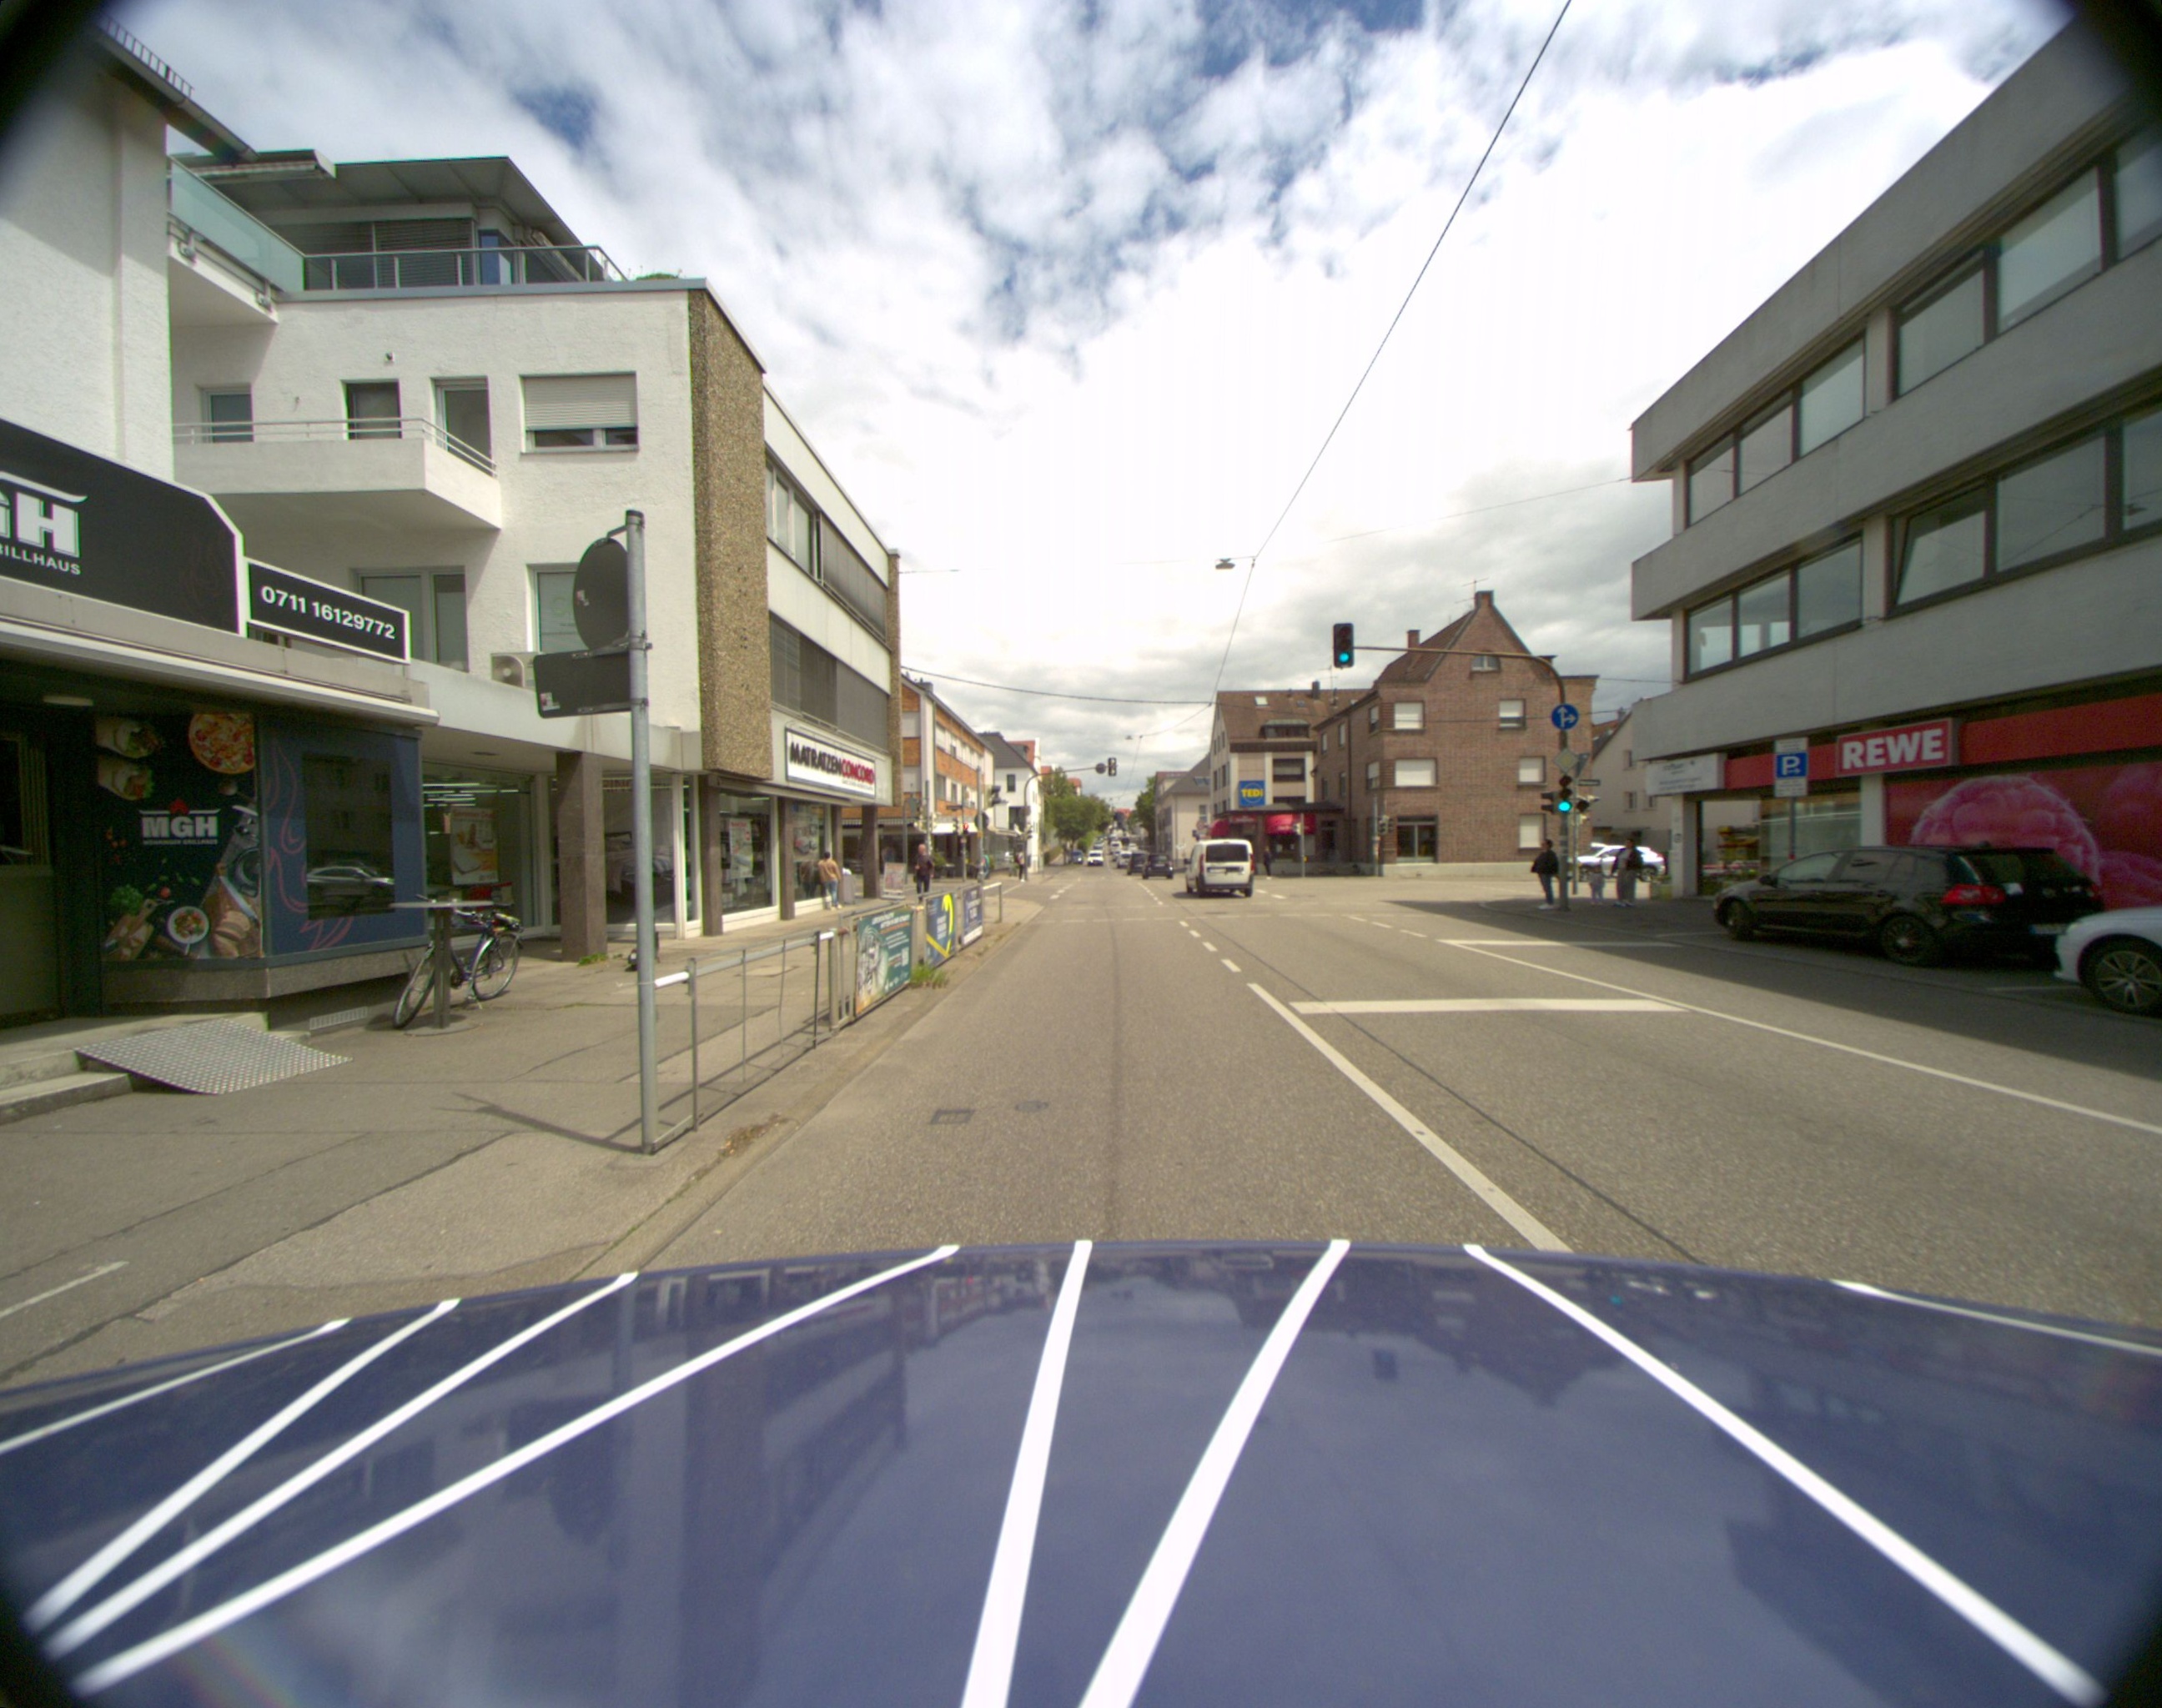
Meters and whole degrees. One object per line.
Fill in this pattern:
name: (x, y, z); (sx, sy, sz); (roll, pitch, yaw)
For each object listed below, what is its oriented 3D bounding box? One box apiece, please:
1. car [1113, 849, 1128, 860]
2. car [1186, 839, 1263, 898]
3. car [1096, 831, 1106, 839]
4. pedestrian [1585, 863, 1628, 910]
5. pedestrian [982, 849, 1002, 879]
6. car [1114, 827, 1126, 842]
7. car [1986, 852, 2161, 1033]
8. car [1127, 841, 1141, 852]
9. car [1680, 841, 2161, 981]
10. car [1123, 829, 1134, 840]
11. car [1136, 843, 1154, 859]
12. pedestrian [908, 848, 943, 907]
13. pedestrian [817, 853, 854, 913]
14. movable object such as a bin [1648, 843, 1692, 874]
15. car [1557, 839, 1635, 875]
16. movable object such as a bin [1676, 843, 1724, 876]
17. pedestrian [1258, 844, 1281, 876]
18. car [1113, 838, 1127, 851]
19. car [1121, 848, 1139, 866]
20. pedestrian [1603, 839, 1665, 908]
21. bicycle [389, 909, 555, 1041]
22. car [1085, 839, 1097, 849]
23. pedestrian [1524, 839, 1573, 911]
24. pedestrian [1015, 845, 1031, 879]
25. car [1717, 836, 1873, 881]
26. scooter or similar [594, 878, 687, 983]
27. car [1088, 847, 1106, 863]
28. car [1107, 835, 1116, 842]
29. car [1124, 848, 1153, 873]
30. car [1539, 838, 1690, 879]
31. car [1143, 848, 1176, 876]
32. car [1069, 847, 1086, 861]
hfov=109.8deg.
car: (5.239, 0.035, 101.033); (1.757, 1.478, 3.970); (0, 0, 0)
car: (4.748, 0.440, 25.725); (1.950, 1.810, 4.278); (0, 0, 2)
car: (4.479, -4.212, 169.613); (1.998, 1.654, 4.000); (0, 0, 2)
pedestrian: (12.394, 0.753, 17.939); (0.560, 1.051, 0.662); (-2, 1, 8)
pedestrian: (-4.679, 0.516, 39.946); (0.778, 1.517, 0.820); (0, 1, 11)
car: (9.652, -4.851, 188.913); (2.428, 3.409, 7.637); (0, 0, 0)
car: (9.814, 0.733, 5.015); (2.048, 1.436, 4.954); (-2, 0, 5)
car: (8.521, -1.253, 122.884); (2.110, 1.778, 4.529); (-1, 1, 2)
car: (10.844, 0.617, 10.418); (2.049, 1.467, 4.286); (-2, 0, 4)
car: (9.674, -3.871, 154.627); (2.110, 2.109, 4.765); (-1, 0, 2)
car: (8.705, -0.446, 103.841); (2.110, 2.109, 4.765); (-1, 1, 2)
pedestrian: (-4.397, 0.654, 21.513); (0.797, 1.661, 0.807); (0, 1, 1)
pedestrian: (-6.253, 0.729, 19.398); (0.681, 1.490, 0.720); (0, 1, 2)
movable object such as a bin: (32.163, 0.235, 41.529); (1.519, 1.615, 1.145); (-2, 1, 5)
car: (28.090, 0.160, 41.570); (1.869, 1.852, 3.702); (0, 0, 2)
movable object such as a bin: (32.169, 0.264, 39.493); (1.519, 1.615, 1.145); (-2, 1, 5)
pedestrian: (10.220, 0.329, 41.197); (0.908, 1.713, 0.849); (-1, 1, -40)
car: (6.139, -1.474, 120.061); (1.982, 1.985, 5.028); (0, 0, 0)
car: (5.180, 0.313, 81.284); (1.819, 1.919, 4.112); (0, 0, 2)
pedestrian: (12.891, 0.446, 17.734); (0.820, 1.546, 0.846); (-2, 1, 8)
bicycle: (-5.899, 1.123, 7.480); (0.476, 1.022, 1.635); (0, 1, -7)
car: (1.832, -1.765, 135.728); (1.998, 1.654, 4.000); (0, 0, 2)
pedestrian: (10.957, 0.493, 17.830); (0.719, 1.635, 0.682); (-2, 1, 7)
pedestrian: (-3.109, 0.436, 40.856); (0.581, 1.820, 0.882); (1, 1, 18)
car: (28.759, 0.180, 30.711); (4.347, 1.744, 2.000); (0, 1, 2)
scooter or similar: (-5.873, 0.978, 10.195); (0.690, 1.260, 1.184); (0, 1, -10)
car: (1.872, 0.150, 89.153); (1.999, 1.797, 4.765); (-1, 0, 0)
car: (6.344, -3.235, 158.557); (1.858, 1.414, 4.192); (0, 0, 0)
car: (4.574, 0.519, 61.030); (1.953, 1.866, 4.876); (-1, 1, 1)
car: (23.896, 0.226, 34.203); (5.254, 1.758, 2.001); (0, 0, 5)
car: (4.604, 0.452, 44.997); (1.681, 1.626, 2.833); (0, 0, 0)
car: (-0.421, -0.003, 93.941); (1.998, 1.654, 4.000); (0, 0, 2)
